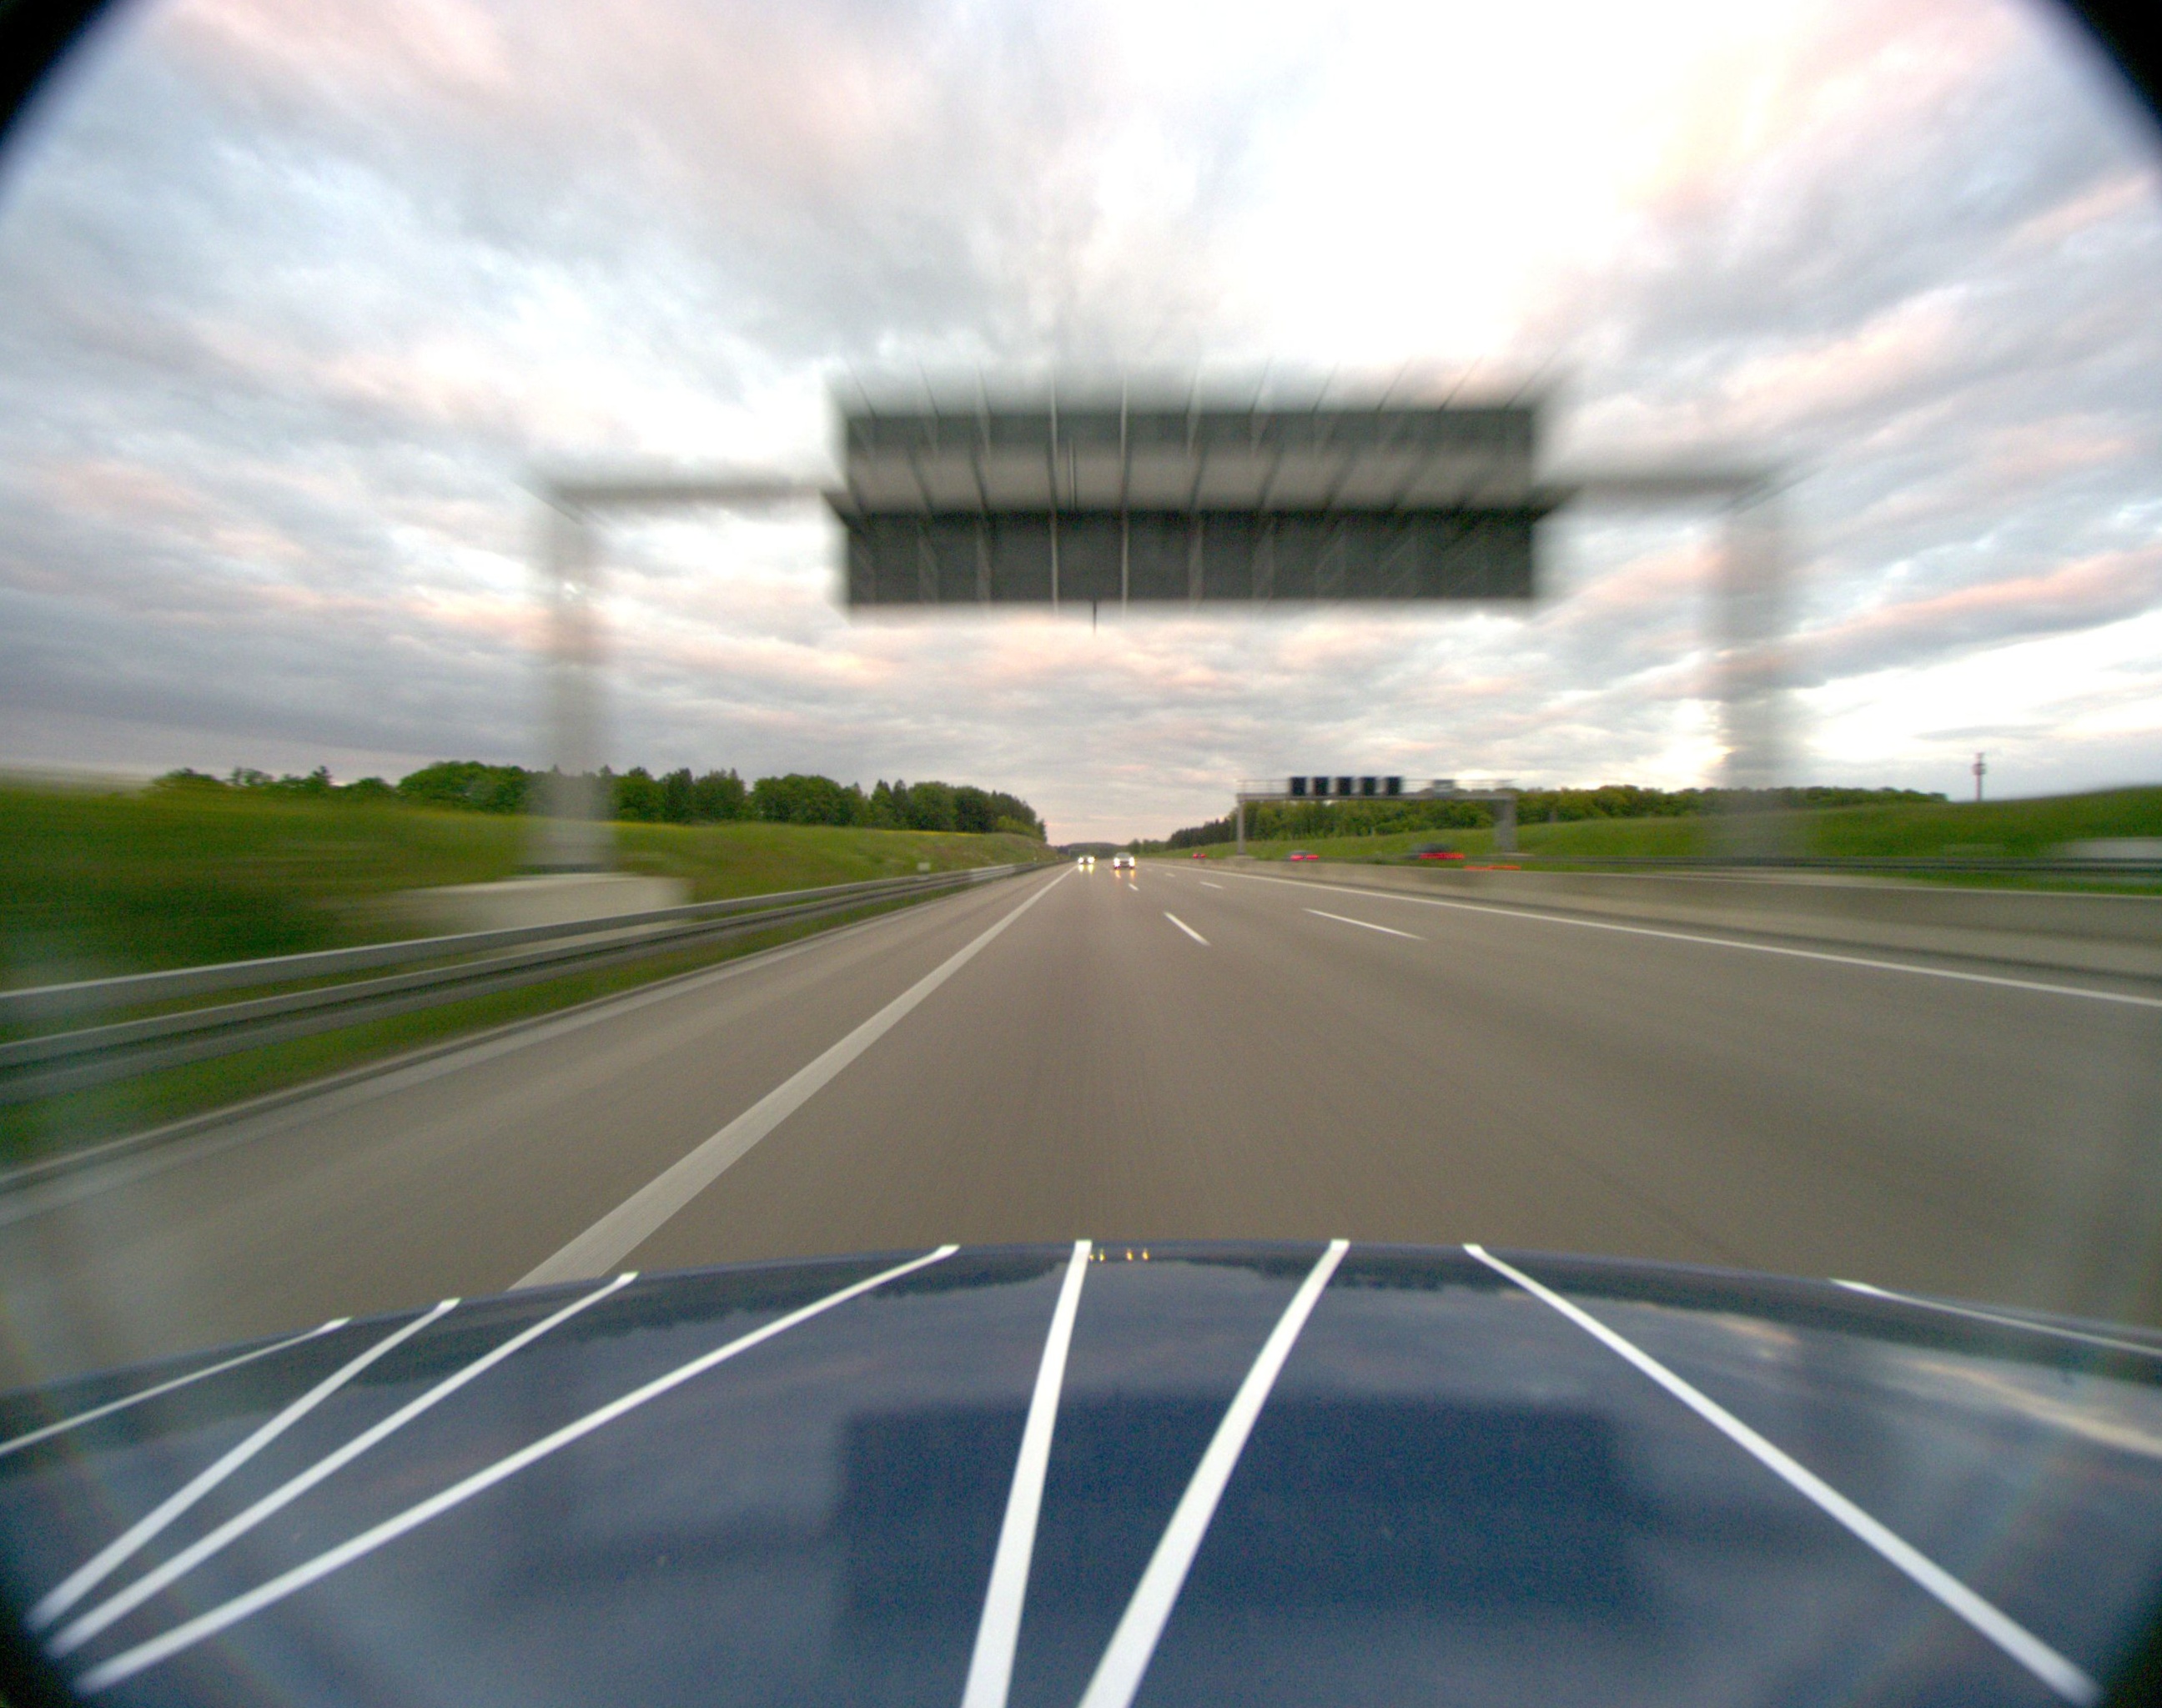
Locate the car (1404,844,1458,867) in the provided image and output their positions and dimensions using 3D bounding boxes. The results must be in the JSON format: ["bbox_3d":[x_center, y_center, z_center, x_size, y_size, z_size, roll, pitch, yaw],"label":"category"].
[{"bbox_3d":[23.757,0.113,51.728,1.818,1.450,4.000,-2,0,1],"label":"car"}]

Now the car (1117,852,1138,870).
[{"bbox_3d":[4.629,0.675,76.768,1.857,1.683,5.511,-1,1,1],"label":"car"}]

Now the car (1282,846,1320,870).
[{"bbox_3d":[19.901,0.327,68.967,1.998,2.002,4.903,-2,0,1],"label":"car"}]

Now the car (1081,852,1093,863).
[{"bbox_3d":[1.007,0.568,122.125,1.801,1.674,4.384,-1,1,1],"label":"car"}]

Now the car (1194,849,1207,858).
[{"bbox_3d":[25.611,-0.029,162.515,1.998,1.817,5.088,-1,0,0],"label":"car"}]
